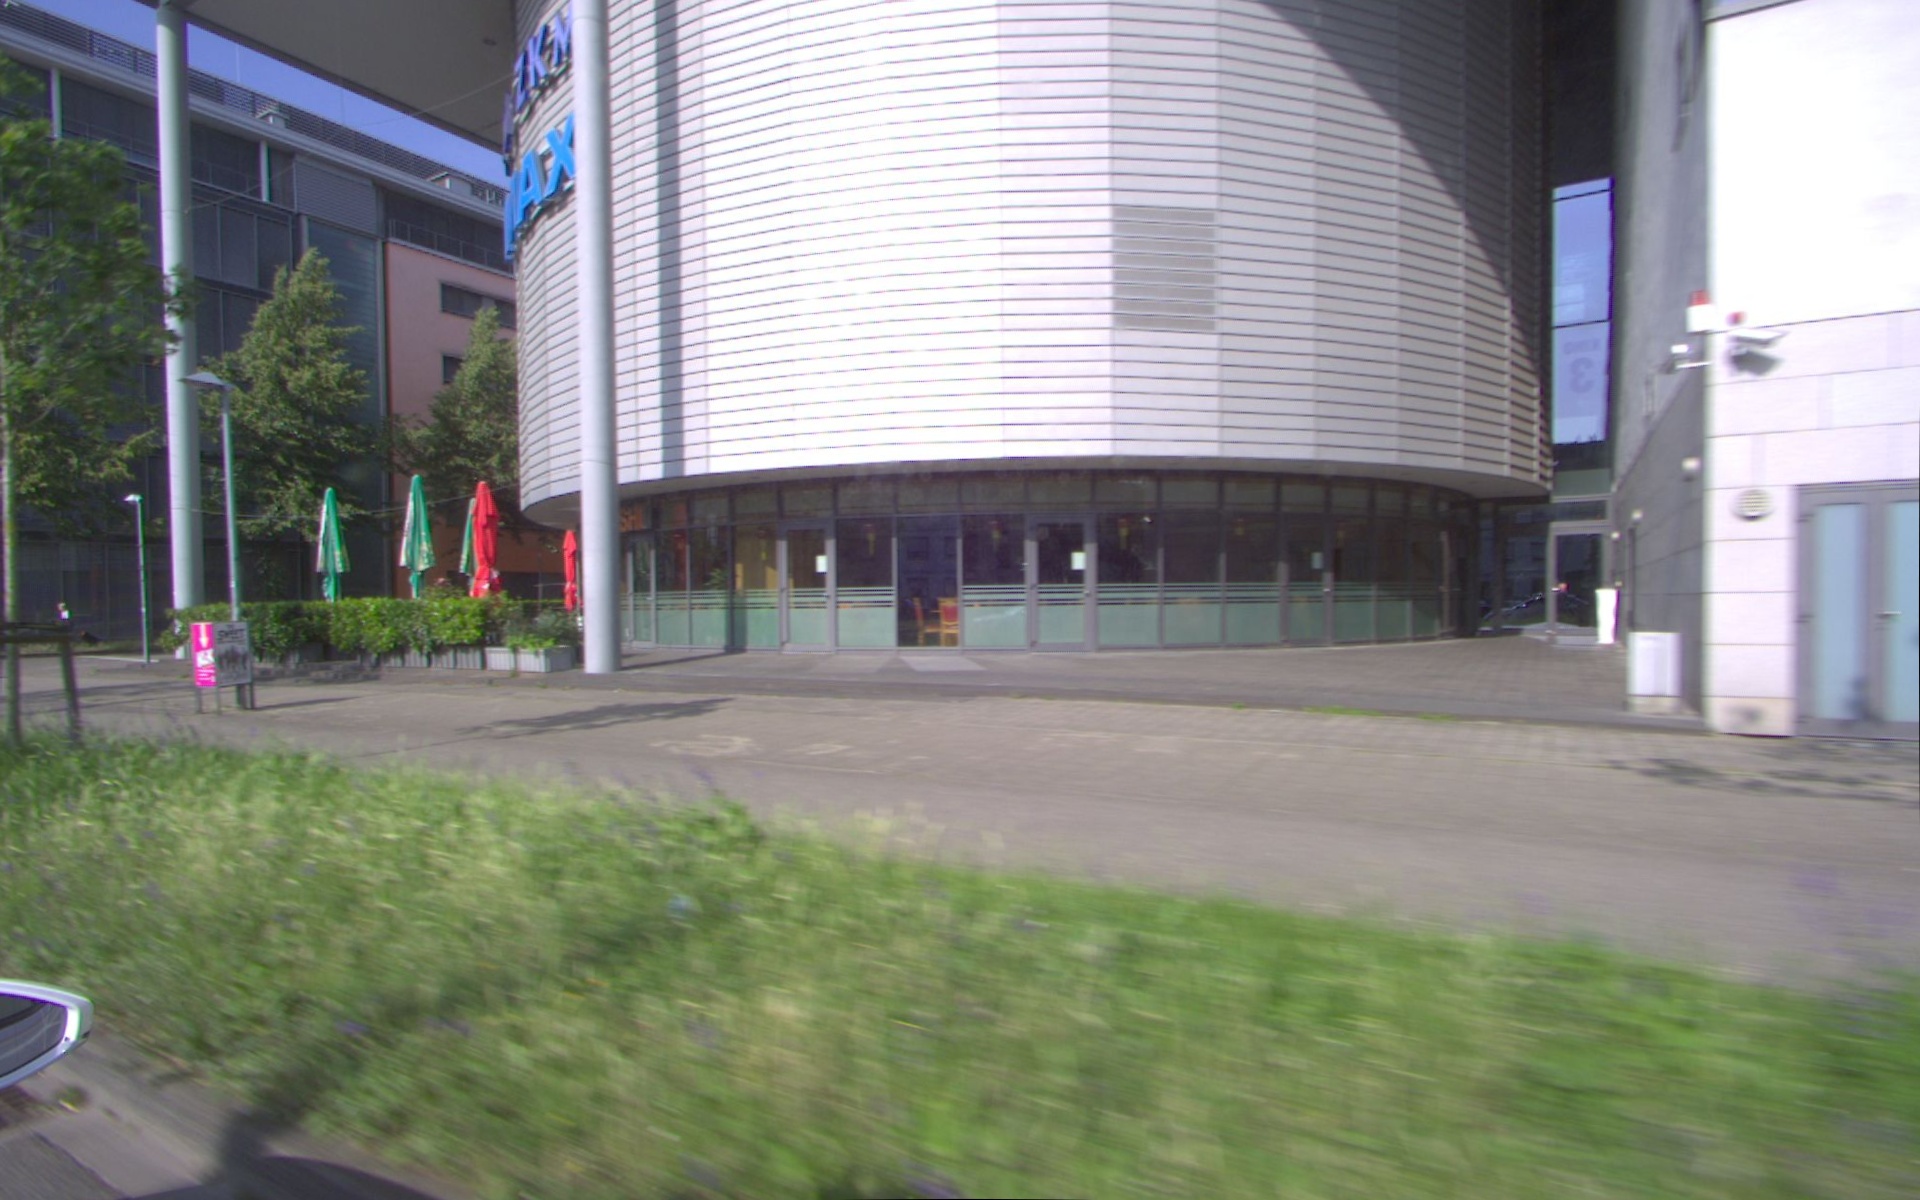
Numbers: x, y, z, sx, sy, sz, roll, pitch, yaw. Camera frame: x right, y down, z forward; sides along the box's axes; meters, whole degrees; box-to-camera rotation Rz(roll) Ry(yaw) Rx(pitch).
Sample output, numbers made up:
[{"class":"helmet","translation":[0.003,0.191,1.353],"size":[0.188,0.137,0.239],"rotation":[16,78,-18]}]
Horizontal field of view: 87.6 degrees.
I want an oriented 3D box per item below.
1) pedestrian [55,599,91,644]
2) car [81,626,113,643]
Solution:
[{"class":"pedestrian","translation":[-32.107,0.774,36.240],"size":[0.703,1.637,0.776],"rotation":[0,0,30]},{"class":"car","translation":[-31.926,1.276,37.038],"size":[0.491,0.595,0.764],"rotation":[-1,0,30]}]
